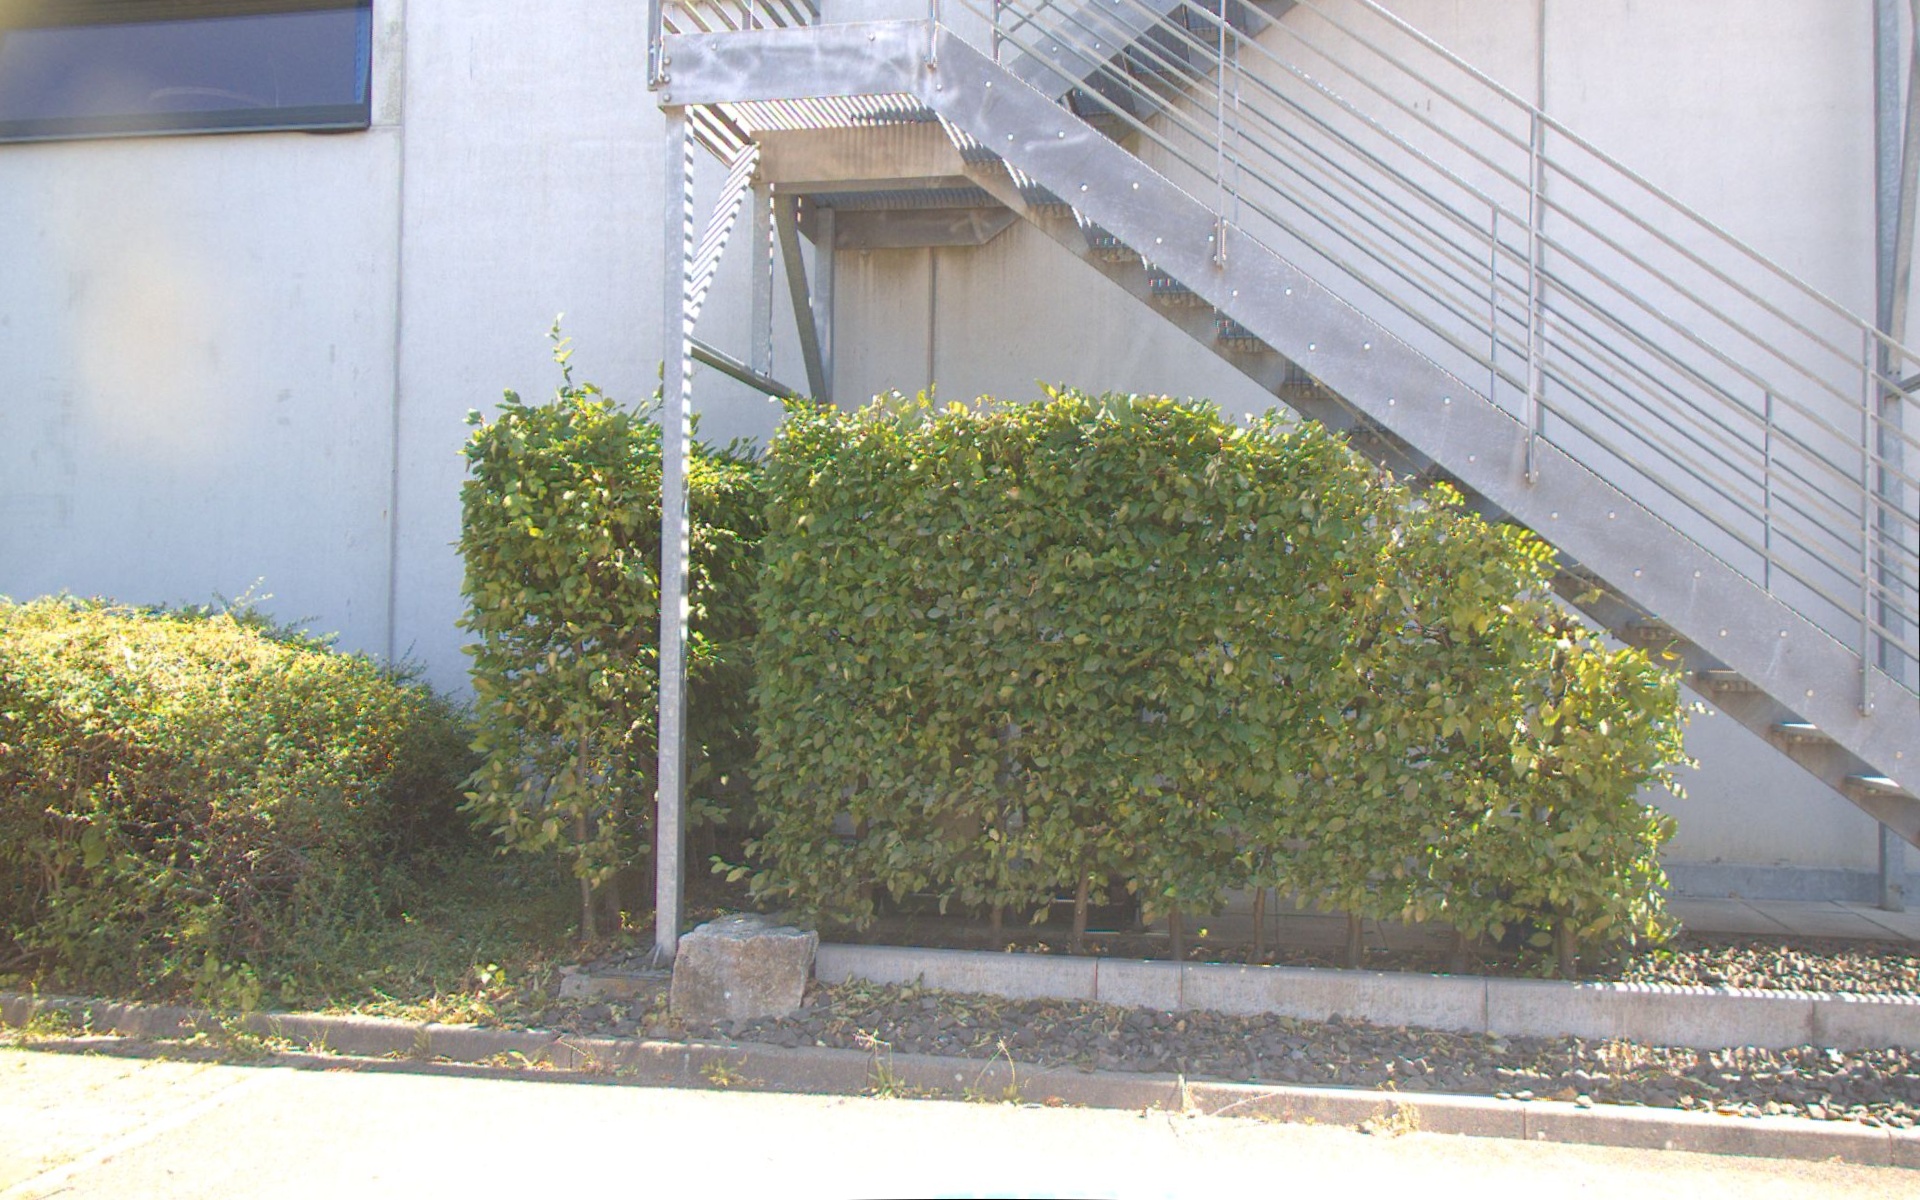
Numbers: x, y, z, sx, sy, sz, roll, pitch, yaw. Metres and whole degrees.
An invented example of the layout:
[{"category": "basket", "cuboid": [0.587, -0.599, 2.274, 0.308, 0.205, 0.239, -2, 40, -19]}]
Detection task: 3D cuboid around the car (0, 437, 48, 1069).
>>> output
[{"category": "car", "cuboid": [-4.982, 0.452, 4.754, 3.971, 1.917, 1.680, 0, 0, 11]}]
